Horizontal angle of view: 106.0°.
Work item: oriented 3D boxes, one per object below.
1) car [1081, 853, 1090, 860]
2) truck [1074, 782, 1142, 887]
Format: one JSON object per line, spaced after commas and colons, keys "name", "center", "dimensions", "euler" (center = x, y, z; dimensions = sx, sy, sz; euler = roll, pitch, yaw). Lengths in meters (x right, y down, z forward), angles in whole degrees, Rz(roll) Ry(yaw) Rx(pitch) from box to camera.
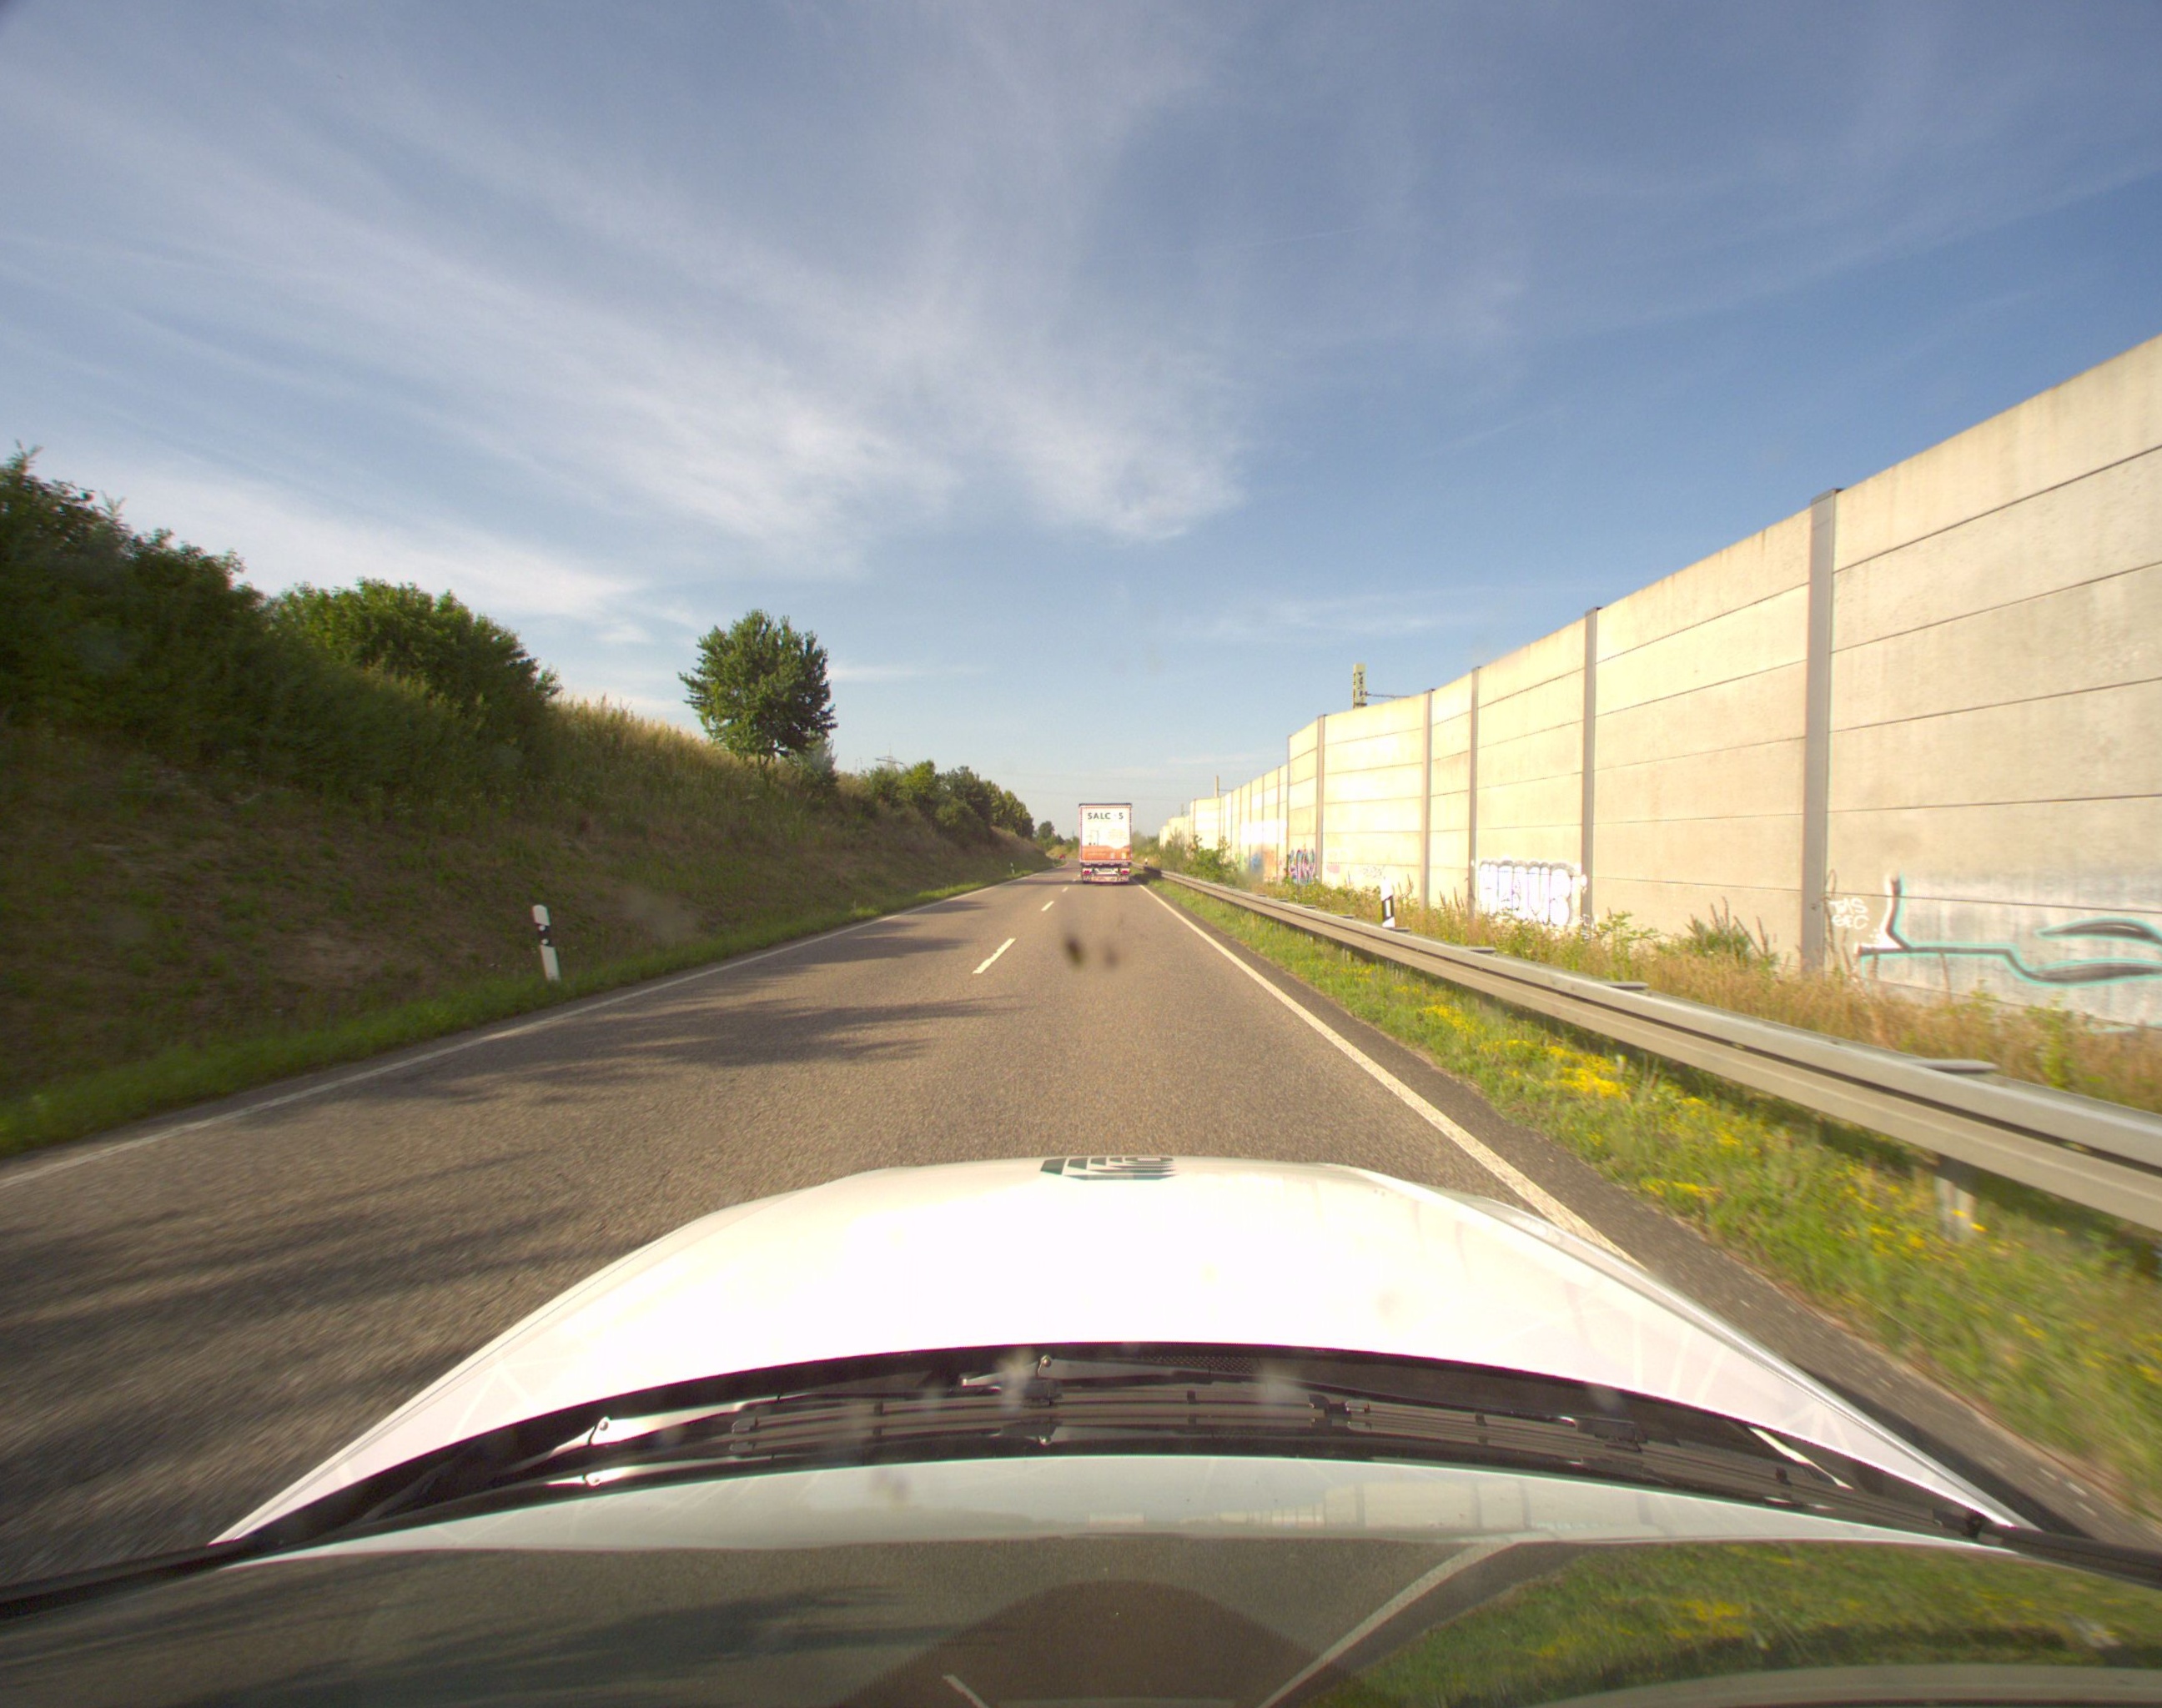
{"name": "car", "center": [1.185, 0.581, 203.540], "dimensions": [2.039, 1.581, 4.361], "euler": [0, 0, 1]}
{"name": "truck", "center": [1.314, -0.981, 45.717], "dimensions": [3.280, 5.090, 12.035], "euler": [-1, 0, 0]}
